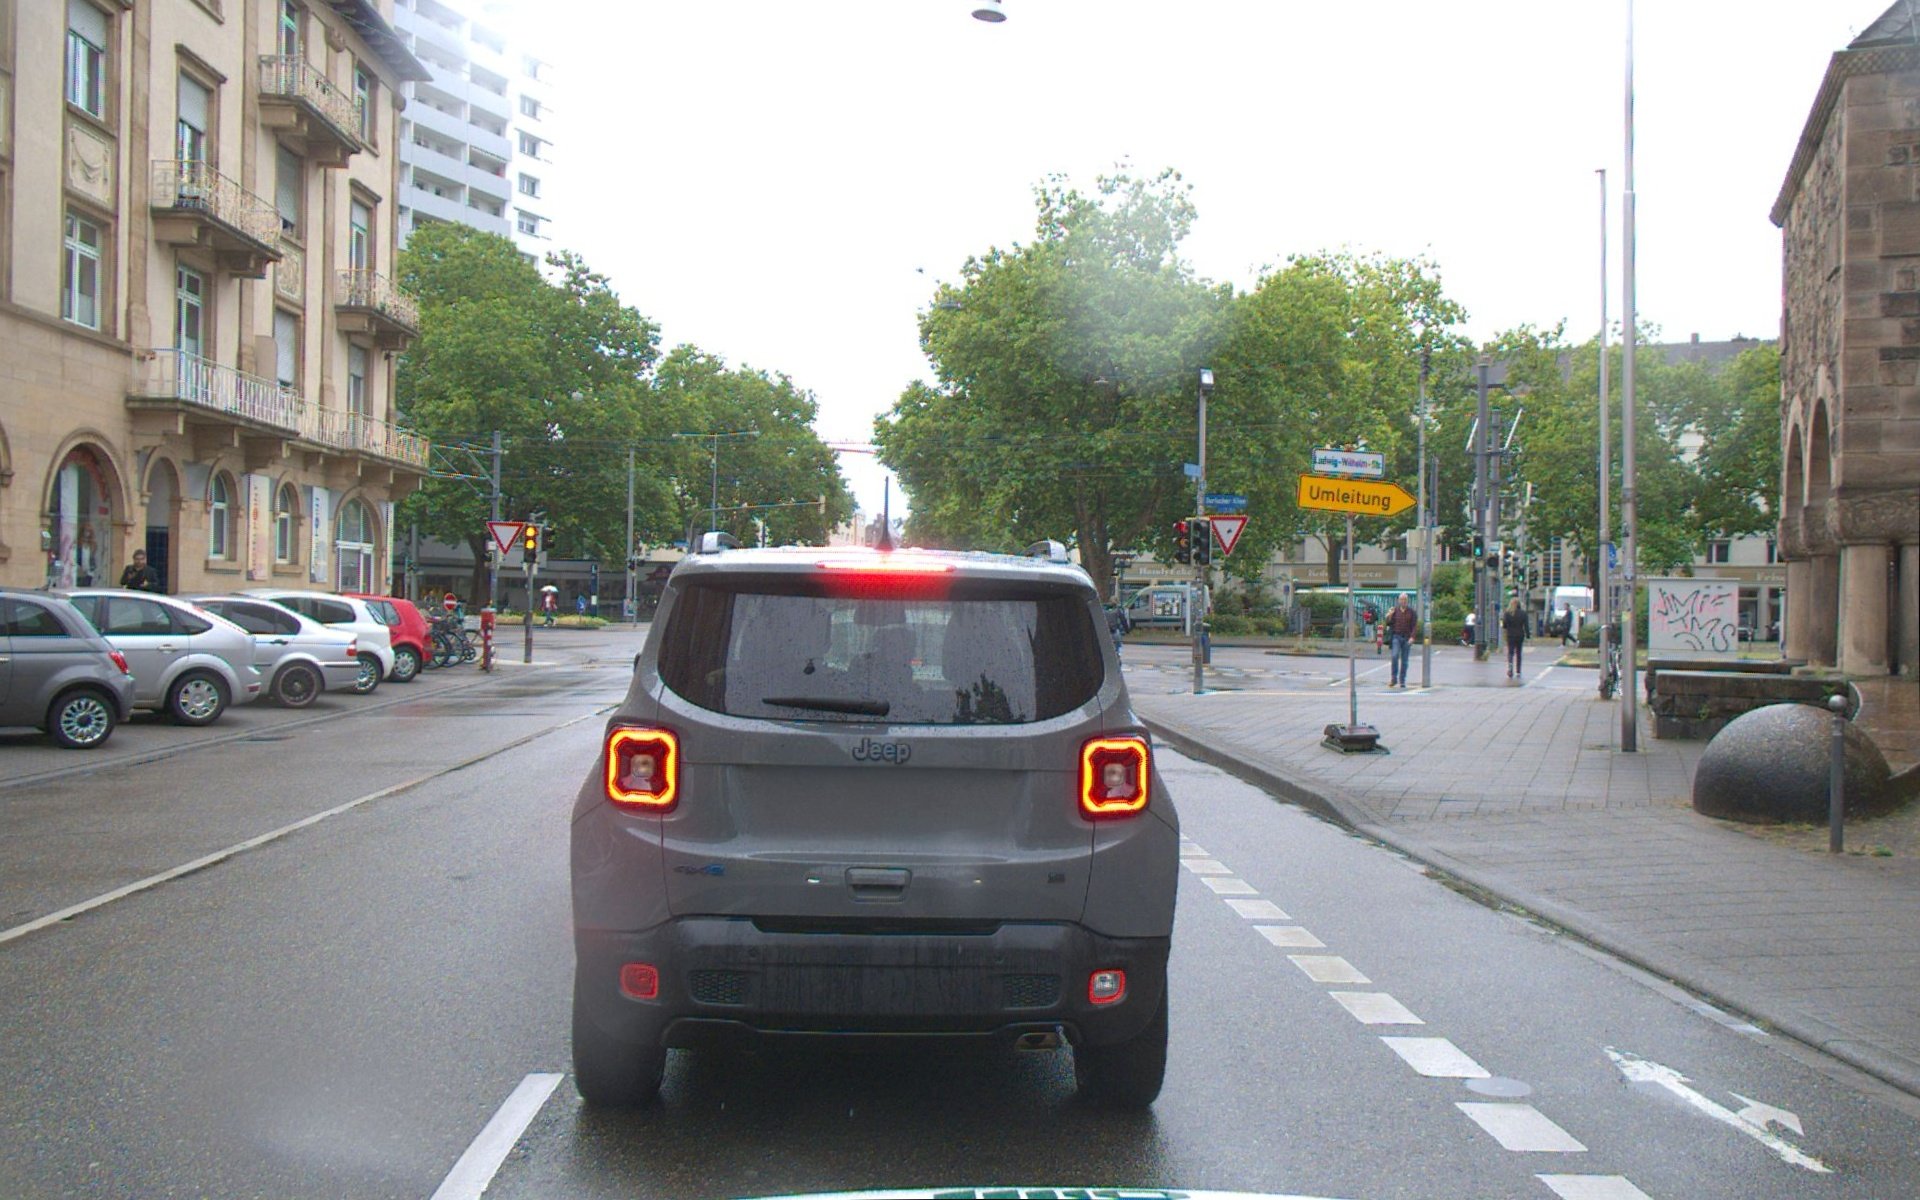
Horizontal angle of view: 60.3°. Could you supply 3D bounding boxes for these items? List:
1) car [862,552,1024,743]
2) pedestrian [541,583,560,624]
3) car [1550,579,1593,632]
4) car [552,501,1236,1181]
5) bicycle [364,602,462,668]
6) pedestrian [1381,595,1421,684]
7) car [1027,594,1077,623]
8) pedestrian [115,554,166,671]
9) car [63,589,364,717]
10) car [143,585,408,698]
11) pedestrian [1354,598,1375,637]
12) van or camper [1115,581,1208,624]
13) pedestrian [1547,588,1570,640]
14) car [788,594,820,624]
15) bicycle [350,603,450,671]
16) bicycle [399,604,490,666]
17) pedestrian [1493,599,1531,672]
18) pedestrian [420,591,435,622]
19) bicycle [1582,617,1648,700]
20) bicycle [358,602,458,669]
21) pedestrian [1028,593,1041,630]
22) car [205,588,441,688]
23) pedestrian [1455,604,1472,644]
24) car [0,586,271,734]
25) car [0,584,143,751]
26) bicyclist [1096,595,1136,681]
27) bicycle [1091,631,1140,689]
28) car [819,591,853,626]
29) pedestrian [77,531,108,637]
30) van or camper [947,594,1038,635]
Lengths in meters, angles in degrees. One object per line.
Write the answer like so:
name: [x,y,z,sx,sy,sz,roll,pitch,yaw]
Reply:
car: [-0.227,0.508,19.867,1.734,2.049,3.999,1,0,-1]
pedestrian: [-18.648,0.162,75.276,0.605,1.858,0.695,0,0,12]
car: [31.214,0.284,84.339,1.868,2.600,4.786,0,0,22]
car: [-0.226,0.604,6.153,1.739,1.716,3.846,0,0,-2]
bicycle: [-10.918,0.697,33.021,1.774,1.288,0.498,0,0,-3]
pedestrian: [9.009,0.793,33.836,0.769,1.790,0.946,0,0,14]
car: [6.626,0.597,119.263,3.363,2.049,1.549,0,-1,12]
pedestrian: [-14.437,0.218,29.152,0.556,2.049,0.654,1,0,-1]
car: [-10.000,0.670,22.249,3.372,1.585,1.681,1,0,-41]
car: [-10.353,0.592,25.101,3.372,1.585,1.681,1,0,-41]
pedestrian: [16.739,0.729,68.391,0.660,1.581,0.761,0,-2,27]
van or camper: [11.525,0.133,94.972,5.149,2.356,2.090,1,0,3]
pedestrian: [23.760,0.569,65.660,0.789,2.049,0.589,0,0,26]
car: [-8.969,0.495,95.051,1.779,1.700,3.916,1,0,-5]
bicycle: [-10.749,0.699,31.793,1.728,1.288,0.522,0,0,-3]
bicycle: [-10.871,0.725,34.929,1.728,1.288,0.608,0,0,-3]
pedestrian: [12.711,0.804,38.076,0.767,1.674,0.655,0,0,23]
pedestrian: [-27.070,0.314,84.057,0.432,1.556,0.644,0,0,16]
bicycle: [9.846,0.853,24.922,0.322,1.174,2.076,0,0,4]
bicycle: [-10.778,0.690,32.340,1.774,1.288,0.498,0,0,-3]
pedestrian: [4.179,0.665,92.547,0.637,2.049,0.483,1,0,11]
car: [-10.740,0.612,27.962,3.372,1.585,1.681,1,0,-41]
pedestrian: [20.340,0.963,66.770,0.600,1.631,0.494,0,0,23]
car: [-9.955,0.648,19.066,3.372,1.585,1.681,1,0,-41]
car: [-9.959,0.633,16.037,3.372,1.585,1.628,1,0,-41]
bicyclist: [3.062,0.734,32.404,0.672,1.646,0.884,0,0,11]
bicycle: [3.058,1.147,32.384,0.677,1.039,2.660,0,0,11]
car: [-6.324,0.419,84.317,1.688,1.769,3.726,1,0,-5]
pedestrian: [-15.363,-0.283,29.286,0.359,1.854,0.347,0,-1,-4]
van or camper: [2.437,1.065,124.780,6.395,2.963,2.493,0,0,24]
